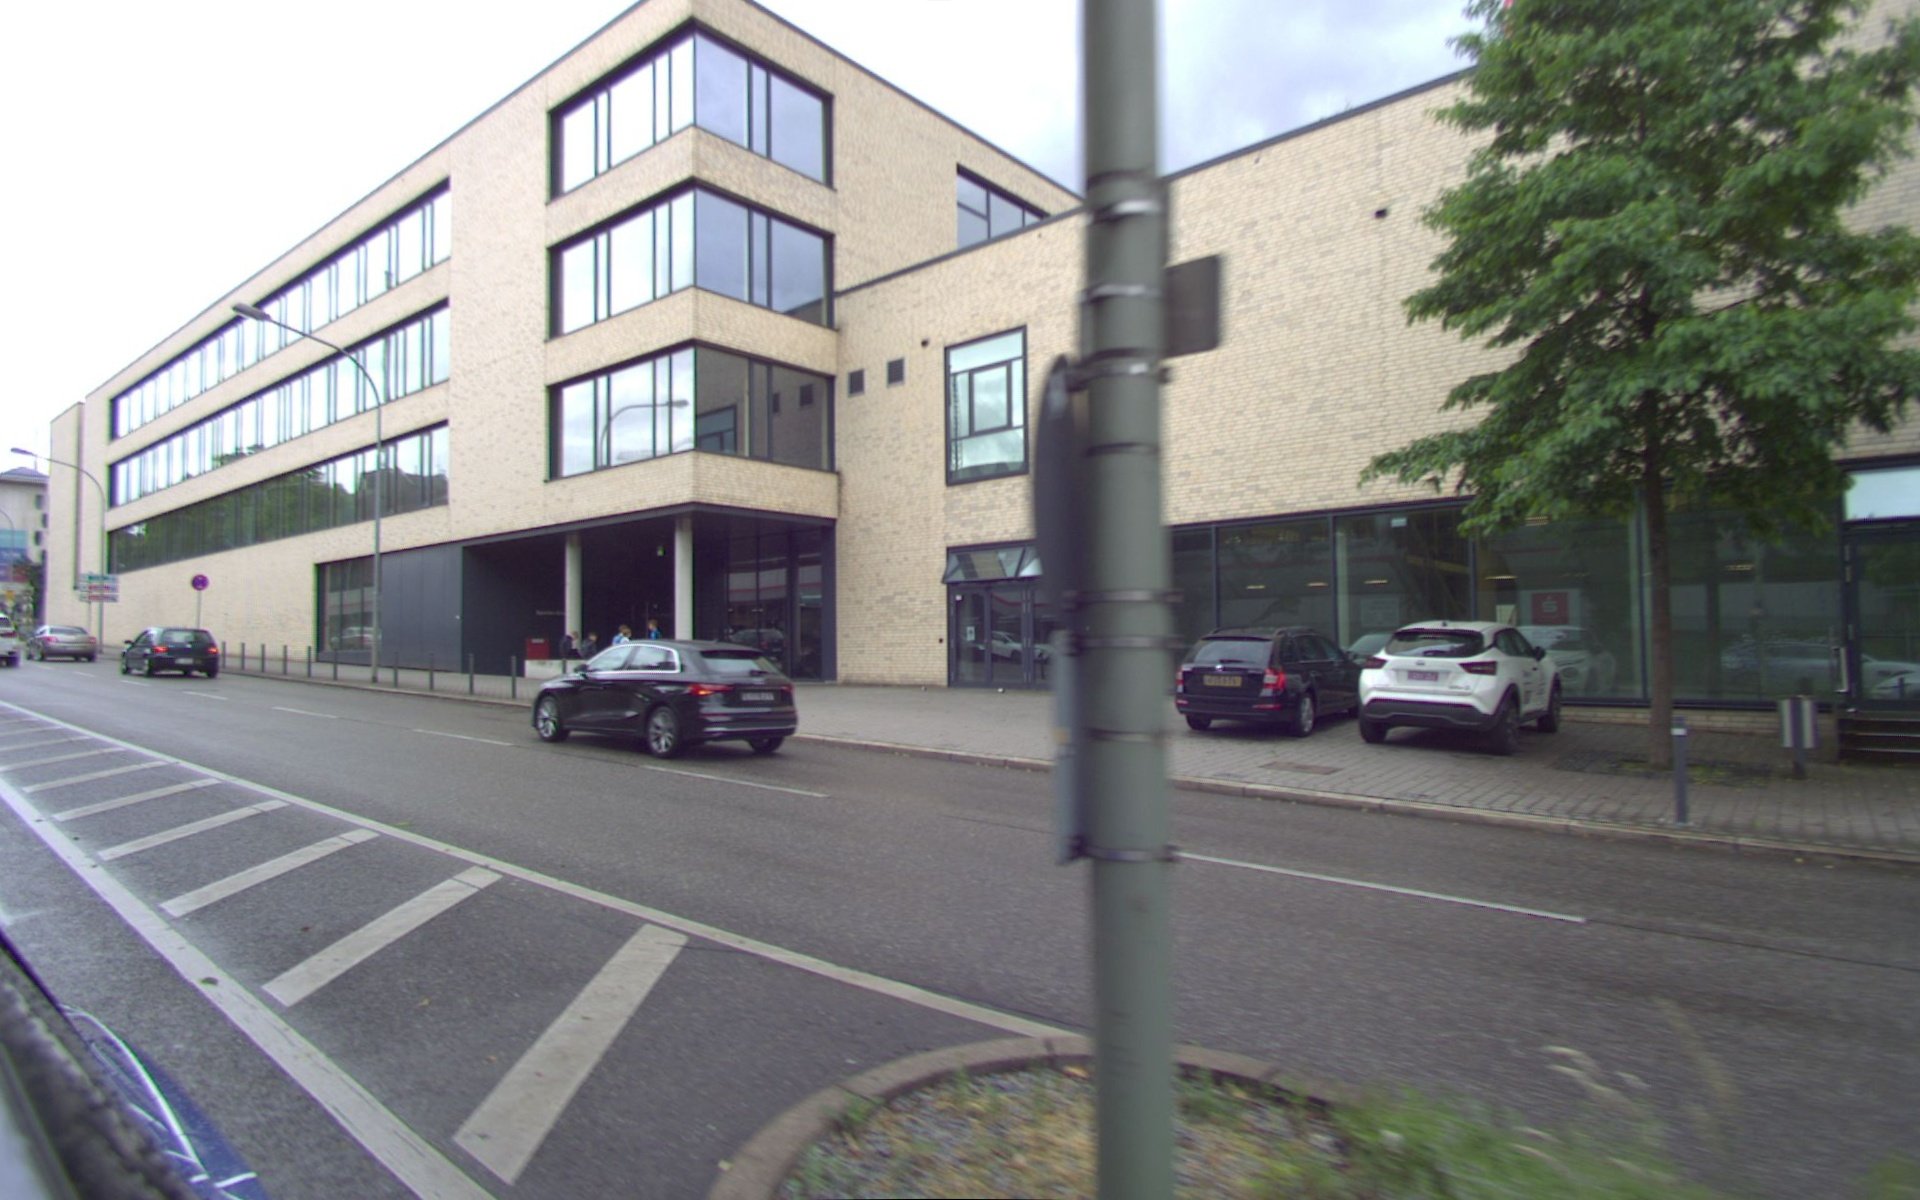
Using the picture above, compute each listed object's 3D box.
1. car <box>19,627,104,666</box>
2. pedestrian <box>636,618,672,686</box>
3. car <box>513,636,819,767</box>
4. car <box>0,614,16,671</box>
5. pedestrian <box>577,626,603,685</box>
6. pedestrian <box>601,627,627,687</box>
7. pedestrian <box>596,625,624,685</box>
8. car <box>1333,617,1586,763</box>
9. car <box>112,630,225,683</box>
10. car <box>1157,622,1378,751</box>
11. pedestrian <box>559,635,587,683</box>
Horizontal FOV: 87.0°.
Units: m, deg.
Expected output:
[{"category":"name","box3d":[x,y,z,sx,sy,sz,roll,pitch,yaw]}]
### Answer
[{"category":"car","box3d":[-35.427,1.818,39.877,4.225,1.399,1.811,-1,-4,39]},{"category":"pedestrian","box3d":[-7.997,1.335,26.459,0.704,1.727,0.628,0,0,41]},{"category":"car","box3d":[-3.938,1.227,13.251,4.195,1.404,1.715,-1,-4,39]},{"category":"car","box3d":[-32.516,1.333,32.961,4.569,1.825,1.872,-1,-4,39]},{"category":"pedestrian","box3d":[-9.598,1.433,26.224,0.462,1.486,0.445,0,0,36]},{"category":"pedestrian","box3d":[-8.760,1.433,25.638,0.462,1.486,0.445,0,0,36]},{"category":"pedestrian","box3d":[-8.902,1.381,25.759,0.527,1.486,0.437,0,0,36]},{"category":"car","box3d":[6.863,1.060,13.695,2.000,1.559,4.131,0,0,42]},{"category":"car","box3d":[-23.229,1.644,29.671,3.967,1.423,1.728,-1,-4,39]},{"category":"car","box3d":[4.700,1.143,15.073,1.995,1.506,4.141,0,0,34]},{"category":"pedestrian","box3d":[-10.253,1.547,26.812,0.422,1.224,0.542,0,0,44]}]
